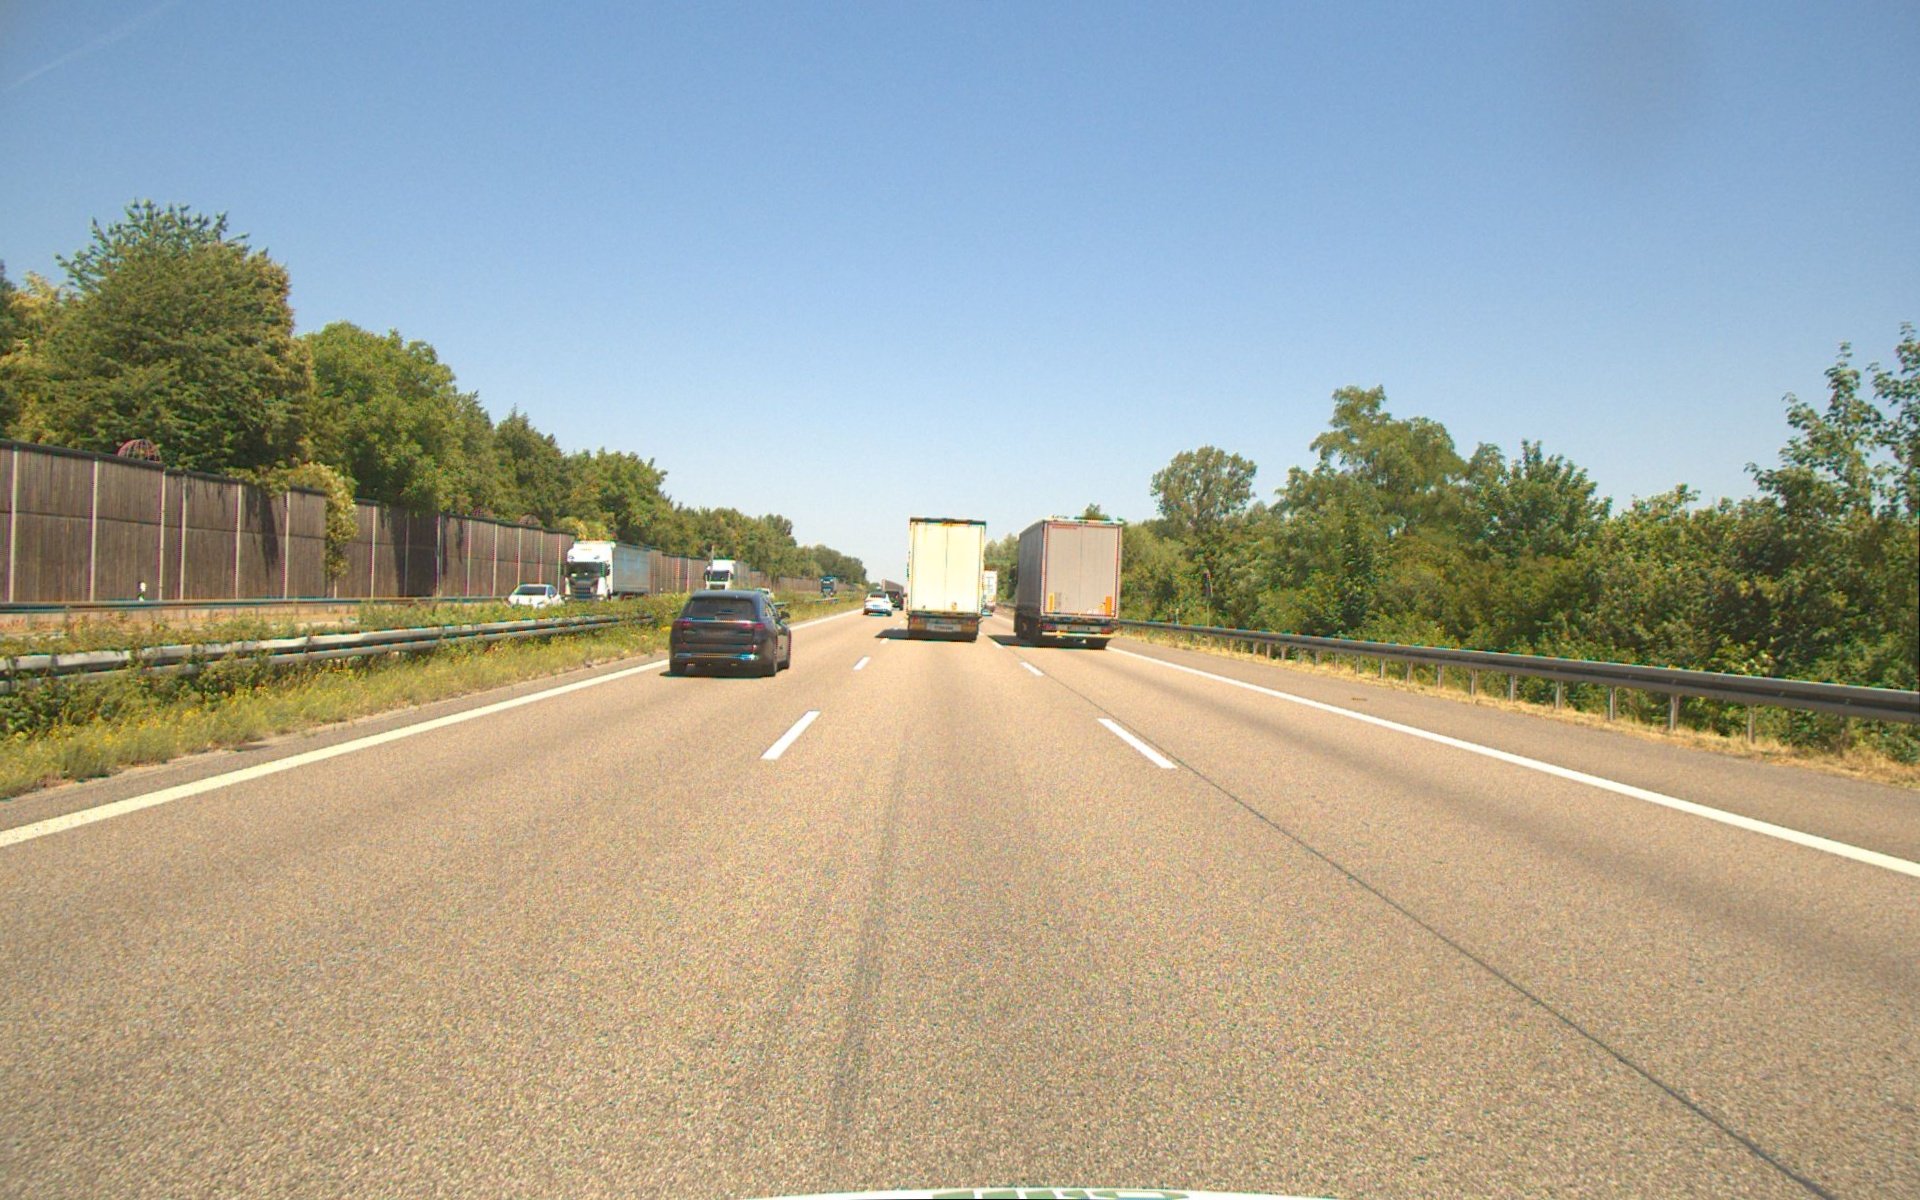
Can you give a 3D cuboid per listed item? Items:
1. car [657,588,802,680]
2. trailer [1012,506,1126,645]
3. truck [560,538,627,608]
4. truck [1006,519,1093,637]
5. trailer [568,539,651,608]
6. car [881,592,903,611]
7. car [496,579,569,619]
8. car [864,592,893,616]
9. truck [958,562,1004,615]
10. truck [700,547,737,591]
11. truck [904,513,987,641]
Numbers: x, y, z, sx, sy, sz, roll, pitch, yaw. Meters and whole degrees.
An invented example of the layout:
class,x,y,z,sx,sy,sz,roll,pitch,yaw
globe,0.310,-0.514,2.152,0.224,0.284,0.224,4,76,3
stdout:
class,x,y,z,sx,sy,sz,roll,pitch,yaw
car,-4.163,0.547,30.767,1.904,1.533,5.820,0,1,0
trailer,3.629,-0.787,58.383,2.649,4.289,13.207,1,0,-2
truck,-22.468,-1.608,101.735,2.702,4.092,6.732,1,0,-2
truck,3.421,-0.837,65.113,2.637,4.289,7.835,1,0,-2
trailer,-22.646,-1.640,107.683,2.679,4.092,14.300,1,0,-2
car,-5.994,0.128,145.298,1.818,1.645,3.997,0,0,-4
car,-17.856,-0.056,69.268,1.953,1.618,4.492,1,0,-1
car,-5.364,0.250,109.216,1.818,1.512,3.999,0,0,-2
truck,1.843,-1.008,149.028,3.307,4.378,11.445,4,0,-2
truck,-23.902,-3.031,163.990,2.776,4.256,7.140,1,0,-2
truck,-0.673,-0.796,61.186,2.652,4.157,13.469,1,0,-2
